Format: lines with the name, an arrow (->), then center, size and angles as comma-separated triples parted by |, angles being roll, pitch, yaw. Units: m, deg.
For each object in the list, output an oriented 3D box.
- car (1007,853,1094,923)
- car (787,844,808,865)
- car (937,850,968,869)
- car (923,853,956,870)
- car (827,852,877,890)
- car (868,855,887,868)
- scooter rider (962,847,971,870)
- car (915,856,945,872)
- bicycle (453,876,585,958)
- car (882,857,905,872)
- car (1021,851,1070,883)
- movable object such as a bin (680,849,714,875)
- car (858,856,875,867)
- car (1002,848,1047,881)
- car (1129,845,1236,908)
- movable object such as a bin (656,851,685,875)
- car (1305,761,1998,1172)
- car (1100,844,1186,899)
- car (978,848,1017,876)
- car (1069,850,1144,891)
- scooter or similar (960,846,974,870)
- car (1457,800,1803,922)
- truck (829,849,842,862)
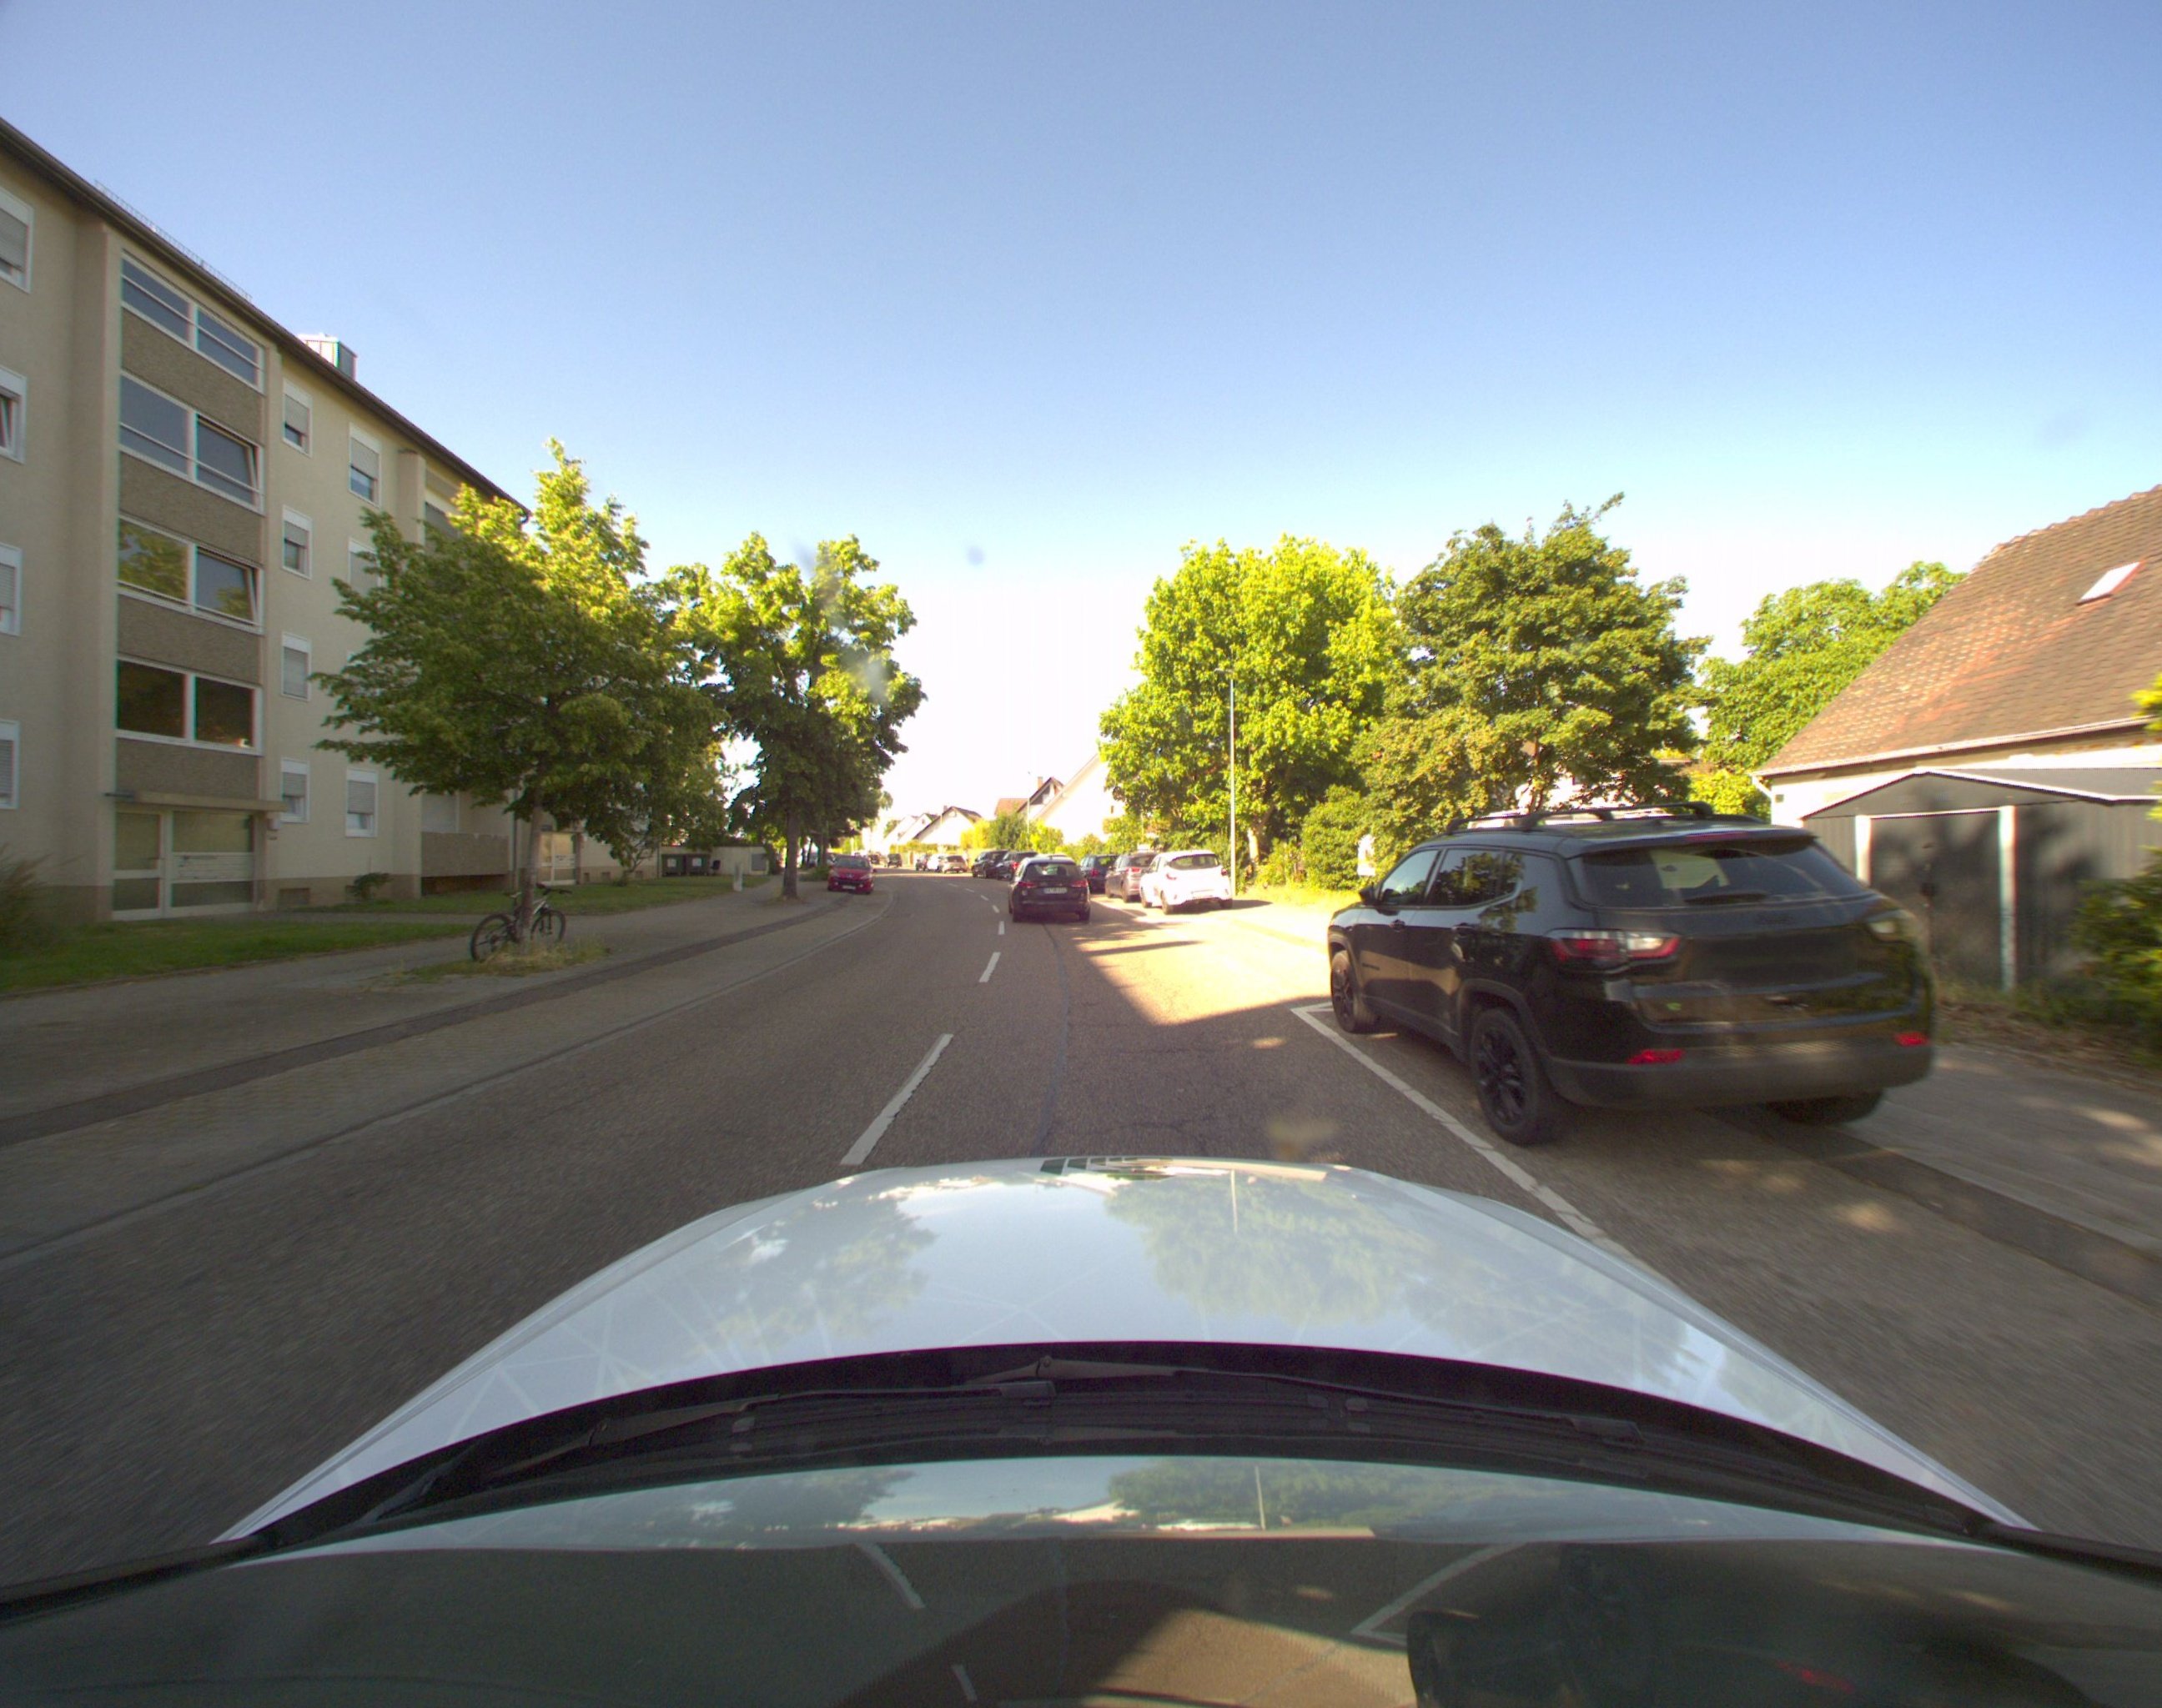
car -> -0.846, 0.772, 19.857 | 1.760, 1.491, 4.280 | 1, -1, -7
car -> -32.102, 0.048, 92.292 | 1.910, 2.170, 4.266 | 7, -2, -17
car -> -10.113, 0.448, 63.786 | 1.920, 1.407, 4.270 | 0, -1, -16
car -> -12.135, 0.631, 69.881 | 1.924, 1.407, 4.262 | 0, -1, -22
car -> -9.526, 0.690, 34.089 | 1.690, 1.491, 4.273 | 1, -1, -12
car -> -28.254, 1.024, 112.872 | 2.013, 1.724, 4.263 | 0, -1, -21
scooter rider -> -10.314, 0.432, 73.403 | 0.688, 2.014, 0.814 | 1, -3, -21
car -> -13.782, 0.915, 74.191 | 1.924, 1.407, 4.262 | 0, -1, -22
bicycle -> -7.556, 0.810, 11.059 | 0.365, 0.969, 1.887 | -1, 0, 4
car -> -21.711, 1.191, 94.281 | 2.013, 1.724, 4.263 | 0, -1, -21
car -> -1.824, 0.644, 40.890 | 1.821, 1.534, 4.241 | 0, -1, -12
movable object such as a bin -> -21.963, 0.468, 46.637 | 1.518, 1.428, 1.083 | 0, -2, -12
car -> -33.289, 1.207, 126.313 | 2.013, 1.724, 4.263 | 0, -1, -21
car -> -3.233, 0.585, 45.880 | 2.007, 1.724, 4.276 | 0, -1, -12
car -> 2.562, 0.562, 21.504 | 1.759, 1.480, 4.282 | 0, -1, -8
movable object such as a bin -> -23.340, 0.518, 46.344 | 1.173, 1.321, 1.083 | 0, -2, -12
car -> 3.009, 0.498, 5.602 | 1.772, 1.724, 4.293 | 0, -1, 0
car -> 1.885, 0.517, 26.151 | 1.910, 1.600, 4.283 | 0, 0, -7
car -> -5.324, 0.506, 51.368 | 1.905, 1.666, 4.171 | 0, -1, -13
car -> 0.894, 0.627, 31.513 | 2.006, 1.475, 4.277 | 0, -1, -11
scooter or similar -> -10.301, 0.394, 73.409 | 0.687, 2.014, 2.942 | 1, -2, -20
car -> 9.535, 0.143, 14.537 | 4.659, 1.984, 2.146 | 0, -1, 4
truck -> -52.116, 0.381, 172.792 | 2.213, 2.600, 5.107 | 1, -2, -21
